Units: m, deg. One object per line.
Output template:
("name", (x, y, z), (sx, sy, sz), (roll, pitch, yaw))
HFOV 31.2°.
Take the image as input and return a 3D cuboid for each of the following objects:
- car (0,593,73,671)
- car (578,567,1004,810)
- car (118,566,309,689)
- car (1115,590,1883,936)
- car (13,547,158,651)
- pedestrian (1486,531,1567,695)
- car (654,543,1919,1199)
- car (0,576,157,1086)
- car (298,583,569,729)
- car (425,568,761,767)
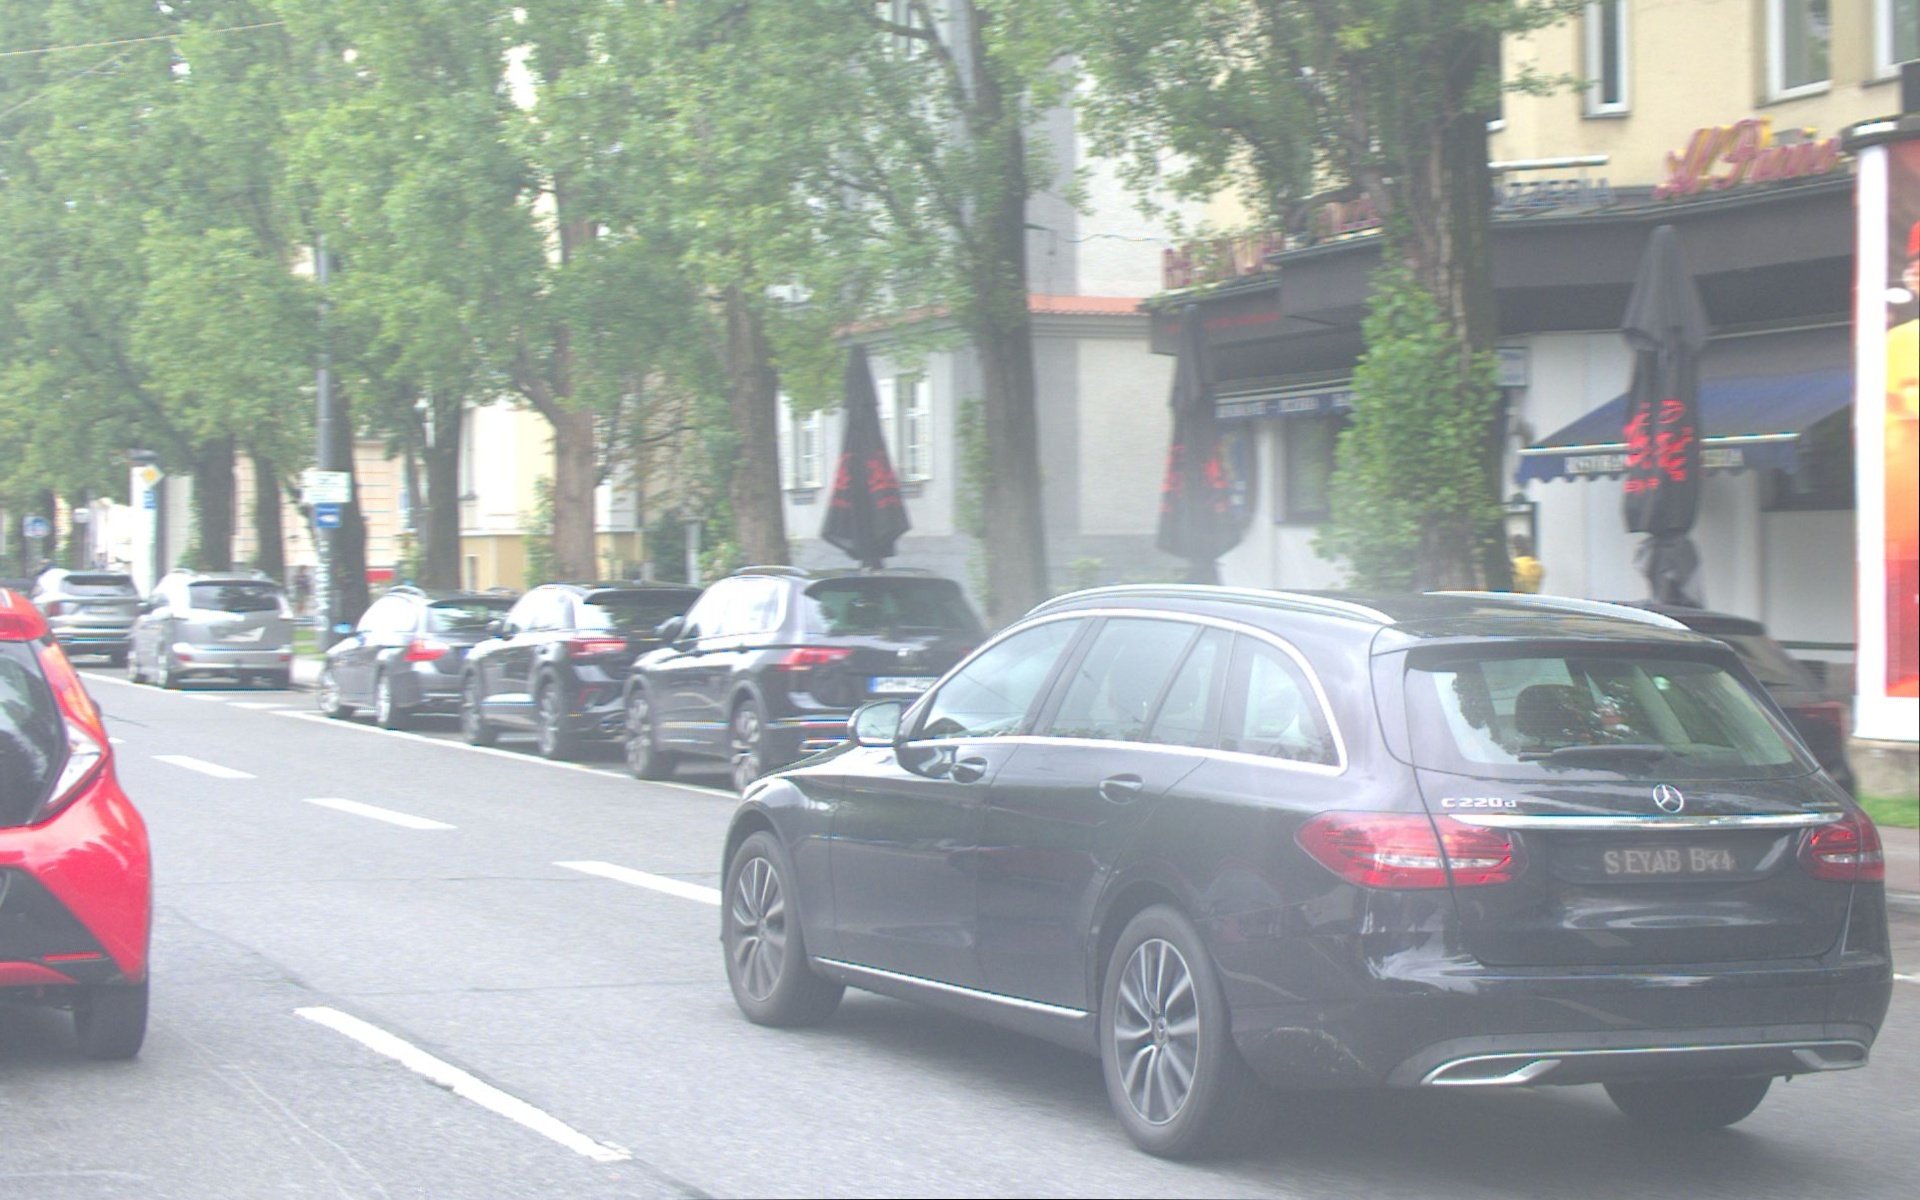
("car", (-19.236, 0.633, 69.996), (1.799, 1.503, 4.001), (0, 1, -21))
("car", (-1.356, 0.569, 25.387), (1.721, 1.607, 4.472), (-1, 1, -23))
("car", (-10.459, 0.335, 47.960), (1.799, 1.607, 4.548), (-1, 1, -23))
("car", (2.507, 0.696, 16.991), (1.799, 1.461, 4.001), (0, 1, -26))
("car", (-15.428, -0.038, 60.520), (1.799, 1.737, 4.701), (-1, 1, -23))
("pedestrian", (5.452, 0.119, 33.103), (0.572, 1.557, 0.496), (0, 2, -21))
("car", (0.733, 0.633, 10.134), (1.863, 1.544, 4.705), (-1, 2, -23))
("car", (-3.752, 0.638, 11.133), (1.628, 1.435, 3.377), (1, 0, -24))
("car", (-5.583, 0.535, 36.045), (1.799, 1.394, 4.383), (-1, 1, -23))
("car", (-3.335, 0.533, 30.464), (1.799, 1.607, 4.306), (-1, 1, -23))
